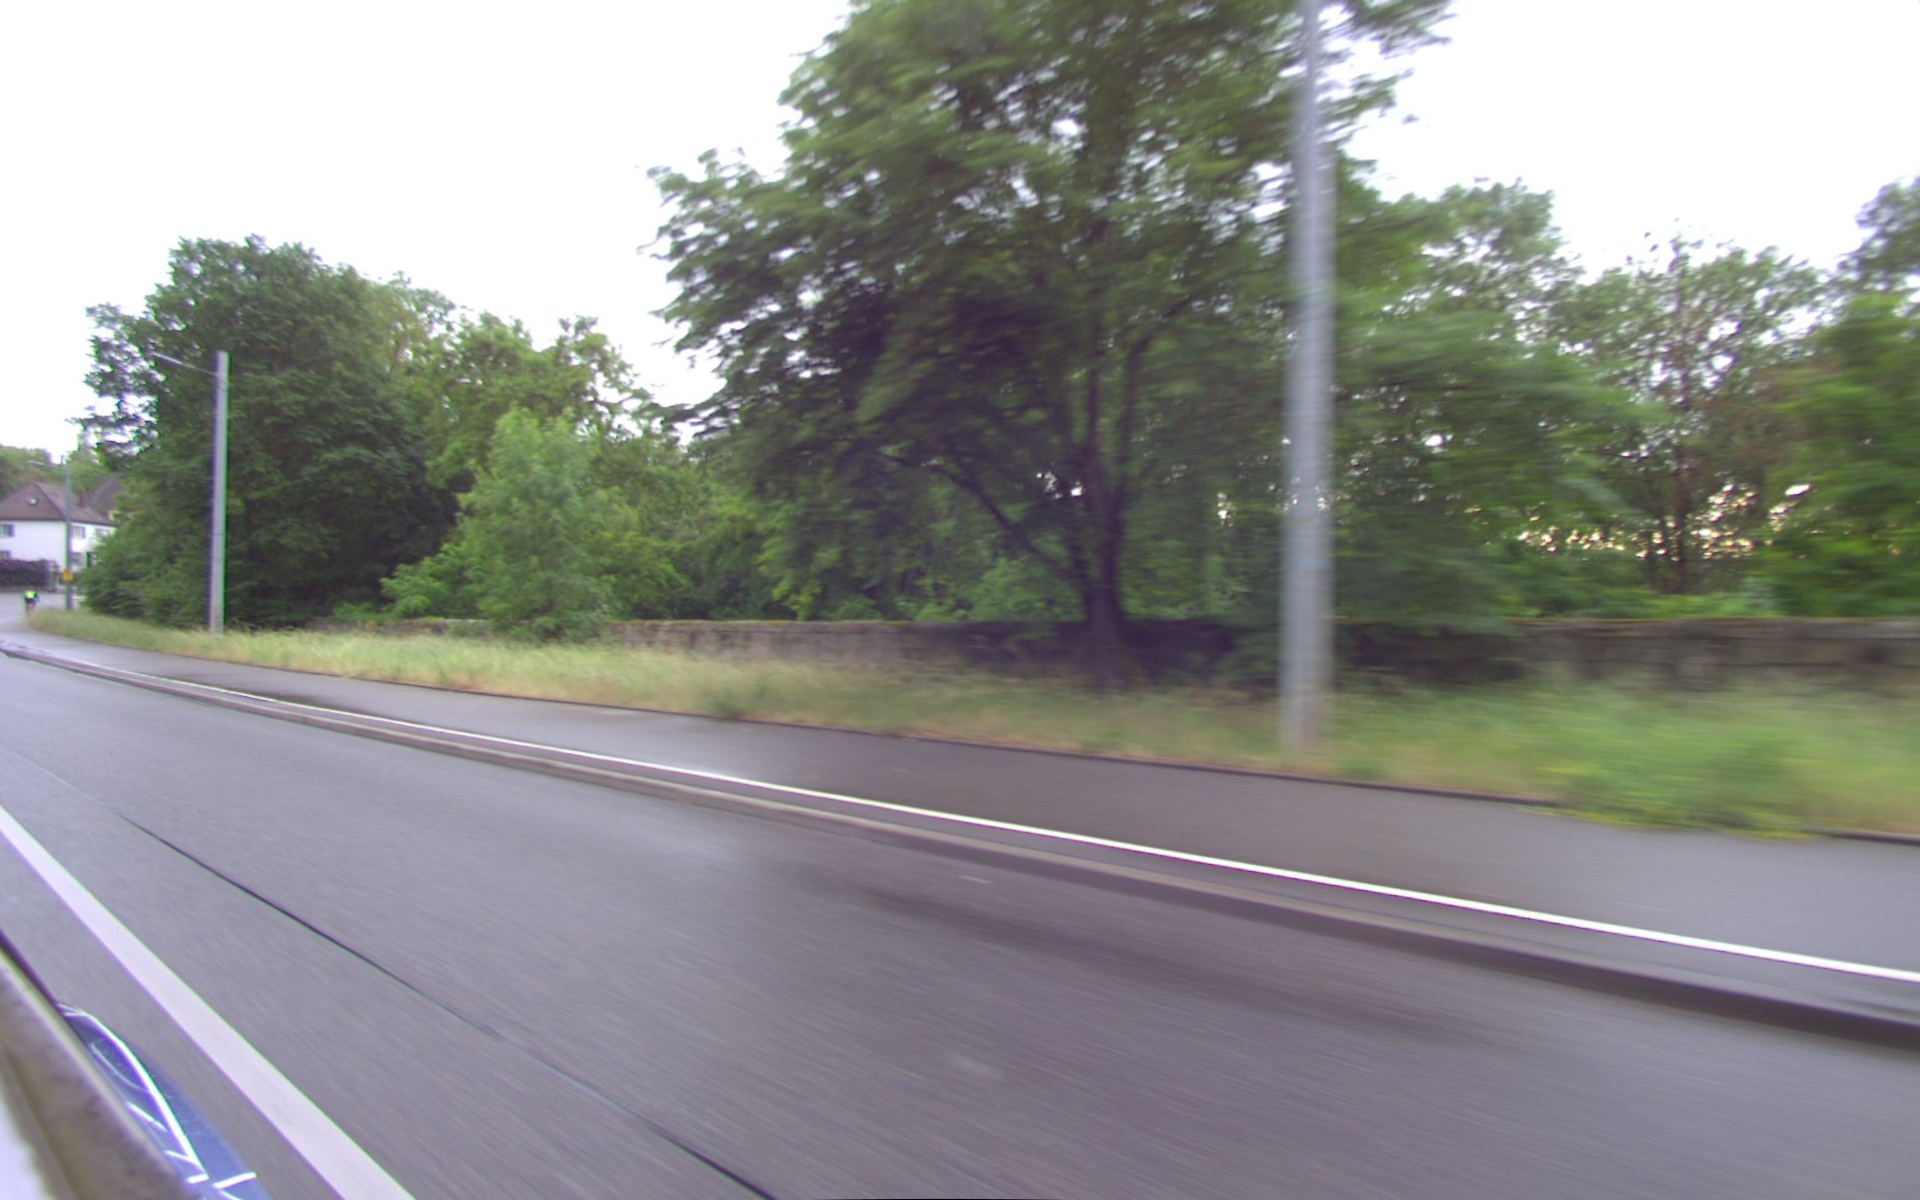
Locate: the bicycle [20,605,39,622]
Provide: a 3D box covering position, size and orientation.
[{"bbox_3d":[-57.062,0.816,62.055,0.715,0.949,2.554,-2,1,-40],"label":"bicycle"}]

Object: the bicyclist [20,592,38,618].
[{"bbox_3d":[-56.968,0.276,61.933,0.699,1.567,1.173,-2,1,-40],"label":"bicyclist"}]
